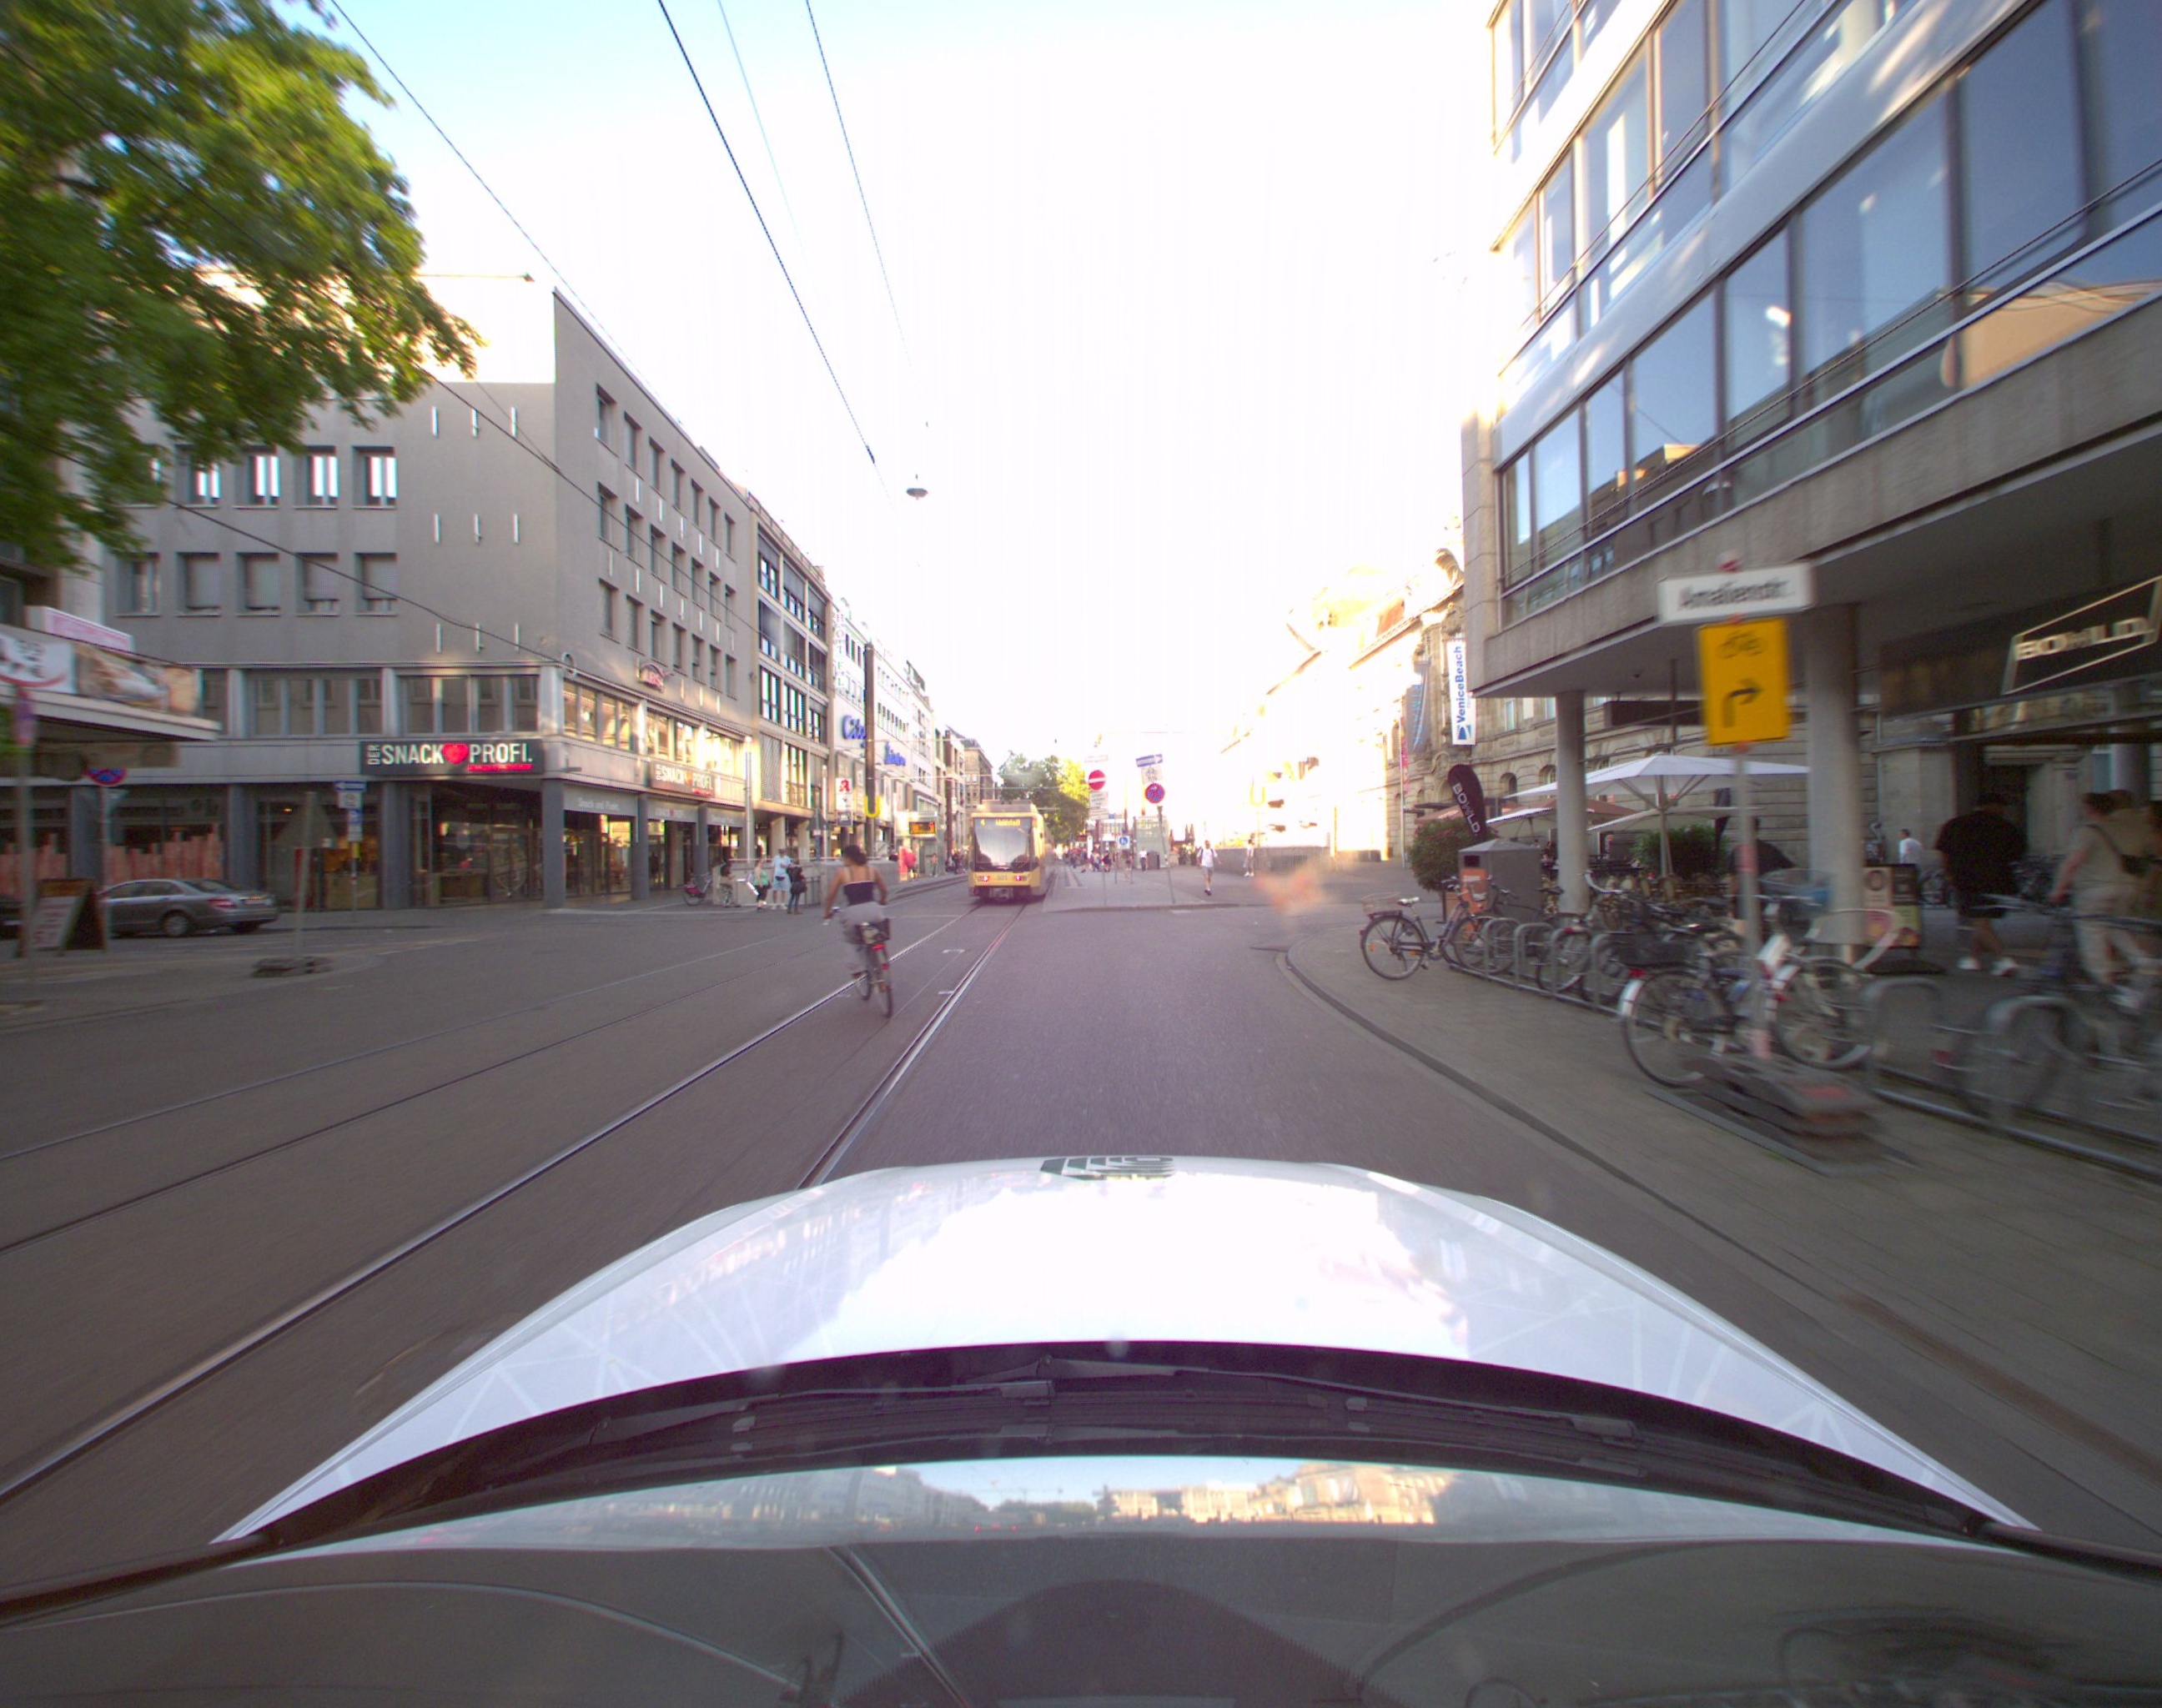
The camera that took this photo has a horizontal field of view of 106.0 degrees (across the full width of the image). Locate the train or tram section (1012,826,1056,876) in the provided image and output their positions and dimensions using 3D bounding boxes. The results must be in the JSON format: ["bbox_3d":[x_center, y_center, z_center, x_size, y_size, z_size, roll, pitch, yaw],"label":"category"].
[{"bbox_3d":[-3.346,-0.207,61.649,2.793,3.319,14.499,-1,0,-1],"label":"train or tram section"}]

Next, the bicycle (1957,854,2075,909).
[{"bbox_3d":[18.532,0.546,16.159,1.674,1.041,0.560,-1,-2,-1],"label":"bicycle"}]

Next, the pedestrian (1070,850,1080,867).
[{"bbox_3d":[-0.599,0.429,78.184,0.762,1.661,0.797,-1,0,10],"label":"pedestrian"}]

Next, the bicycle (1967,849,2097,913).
[{"bbox_3d":[17.569,0.496,15.065,1.802,1.118,0.546,-1,-2,-3],"label":"bicycle"}]

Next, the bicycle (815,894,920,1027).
[{"bbox_3d":[-2.270,1.014,8.458,0.818,1.073,2.098,0,0,-21],"label":"bicycle"}]

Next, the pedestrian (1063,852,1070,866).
[{"bbox_3d":[-1.762,0.544,97.996,0.762,1.661,0.796,-1,0,8],"label":"pedestrian"}]

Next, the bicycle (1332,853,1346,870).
[{"bbox_3d":[13.266,0.383,41.891,0.314,0.867,0.999,-2,0,-2],"label":"bicycle"}]

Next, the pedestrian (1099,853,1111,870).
[{"bbox_3d":[1.818,0.579,62.026,0.791,1.221,0.768,-1,0,-5],"label":"pedestrian"}]

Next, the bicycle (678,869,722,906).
[{"bbox_3d":[-12.837,1.112,27.470,0.496,1.107,1.802,-1,1,4],"label":"bicycle"}]

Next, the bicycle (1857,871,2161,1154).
[{"bbox_3d":[5.262,0.728,4.168,1.993,1.155,0.724,-3,0,-6],"label":"bicycle"}]

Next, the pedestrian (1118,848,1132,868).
[{"bbox_3d":[3.614,0.321,67.122,0.773,1.661,0.785,-1,0,-42],"label":"pedestrian"}]

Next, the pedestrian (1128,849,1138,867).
[{"bbox_3d":[4.742,0.352,74.132,0.787,1.661,0.771,-1,0,10],"label":"pedestrian"}]

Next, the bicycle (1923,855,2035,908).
[{"bbox_3d":[18.515,0.571,16.813,1.674,1.041,0.560,-1,-2,-1],"label":"bicycle"}]

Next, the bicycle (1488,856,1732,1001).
[{"bbox_3d":[5.147,0.685,7.988,1.913,1.222,0.761,-3,0,-6],"label":"bicycle"}]

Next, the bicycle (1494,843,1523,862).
[{"bbox_3d":[22.069,-0.083,42.040,1.316,0.894,0.410,-2,1,-6],"label":"bicycle"}]

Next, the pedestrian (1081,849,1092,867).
[{"bbox_3d":[0.517,0.391,75.108,0.787,1.661,0.771,-1,0,10],"label":"pedestrian"}]

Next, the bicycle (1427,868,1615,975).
[{"bbox_3d":[5.147,0.769,9.588,1.849,1.109,0.666,-3,0,-4],"label":"bicycle"}]

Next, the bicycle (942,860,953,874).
[{"bbox_3d":[-10.862,1.053,66.209,0.435,1.142,1.605,-1,0,-25],"label":"bicycle"}]

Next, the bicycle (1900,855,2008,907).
[{"bbox_3d":[18.561,0.573,17.325,1.674,1.041,0.560,-1,-2,-1],"label":"bicycle"}]

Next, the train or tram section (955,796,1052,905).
[{"bbox_3d":[-2.659,-0.133,32.615,2.793,3.319,14.499,-1,0,-1],"label":"train or tram section"}]

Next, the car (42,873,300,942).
[{"bbox_3d":[-22.265,1.278,20.085,4.112,1.510,1.797,-1,-1,-4],"label":"car"}]

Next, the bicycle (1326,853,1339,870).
[{"bbox_3d":[12.942,0.385,41.879,0.314,0.867,0.999,-2,0,-2],"label":"bicycle"}]

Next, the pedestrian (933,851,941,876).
[{"bbox_3d":[-9.605,0.625,54.298,0.511,1.617,0.503,-1,-1,-11],"label":"pedestrian"}]

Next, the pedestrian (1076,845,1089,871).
[{"bbox_3d":[0.107,0.293,59.116,0.735,1.823,0.815,-1,0,-16],"label":"pedestrian"}]

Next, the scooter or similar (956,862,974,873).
[{"bbox_3d":[-9.599,1.111,67.368,0.552,0.831,1.535,-2,-1,37],"label":"scooter or similar"}]

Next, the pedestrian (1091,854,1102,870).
[{"bbox_3d":[1.202,0.588,62.811,0.791,1.221,0.768,-1,0,-5],"label":"pedestrian"}]

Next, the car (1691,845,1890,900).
[{"bbox_3d":[19.433,0.491,22.412,4.029,1.409,1.774,-1,-1,-3],"label":"car"}]

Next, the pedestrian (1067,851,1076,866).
[{"bbox_3d":[-1.063,0.507,92.601,0.787,1.661,0.771,-1,0,10],"label":"pedestrian"}]

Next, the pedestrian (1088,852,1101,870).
[{"bbox_3d":[1.177,0.603,70.157,0.759,1.579,0.799,-1,0,28],"label":"pedestrian"}]

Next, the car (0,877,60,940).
[{"bbox_3d":[-28.126,1.365,19.777,4.112,1.510,1.797,-1,-1,-4],"label":"car"}]

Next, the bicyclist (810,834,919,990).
[{"bbox_3d":[-2.262,0.563,8.453,1.000,1.502,0.851,0,0,-21],"label":"bicyclist"}]

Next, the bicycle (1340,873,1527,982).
[{"bbox_3d":[4.036,0.820,9.403,1.849,1.109,0.666,-3,0,-4],"label":"bicycle"}]

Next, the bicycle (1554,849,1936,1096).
[{"bbox_3d":[4.197,0.689,5.218,1.913,1.333,0.724,-3,0,-6],"label":"bicycle"}]

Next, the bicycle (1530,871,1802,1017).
[{"bbox_3d":[5.158,0.756,7.241,1.913,1.077,0.761,-3,0,-6],"label":"bicycle"}]

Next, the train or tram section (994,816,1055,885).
[{"bbox_3d":[-2.999,-0.176,47.132,2.793,3.319,14.499,-1,0,-1],"label":"train or tram section"}]

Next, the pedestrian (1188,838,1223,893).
[{"bbox_3d":[4.238,0.389,27.819,1.010,1.863,1.042,0,-1,-1],"label":"pedestrian"}]

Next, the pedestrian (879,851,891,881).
[{"bbox_3d":[-10.719,0.653,44.579,0.603,1.588,0.626,-1,-1,-11],"label":"pedestrian"}]
